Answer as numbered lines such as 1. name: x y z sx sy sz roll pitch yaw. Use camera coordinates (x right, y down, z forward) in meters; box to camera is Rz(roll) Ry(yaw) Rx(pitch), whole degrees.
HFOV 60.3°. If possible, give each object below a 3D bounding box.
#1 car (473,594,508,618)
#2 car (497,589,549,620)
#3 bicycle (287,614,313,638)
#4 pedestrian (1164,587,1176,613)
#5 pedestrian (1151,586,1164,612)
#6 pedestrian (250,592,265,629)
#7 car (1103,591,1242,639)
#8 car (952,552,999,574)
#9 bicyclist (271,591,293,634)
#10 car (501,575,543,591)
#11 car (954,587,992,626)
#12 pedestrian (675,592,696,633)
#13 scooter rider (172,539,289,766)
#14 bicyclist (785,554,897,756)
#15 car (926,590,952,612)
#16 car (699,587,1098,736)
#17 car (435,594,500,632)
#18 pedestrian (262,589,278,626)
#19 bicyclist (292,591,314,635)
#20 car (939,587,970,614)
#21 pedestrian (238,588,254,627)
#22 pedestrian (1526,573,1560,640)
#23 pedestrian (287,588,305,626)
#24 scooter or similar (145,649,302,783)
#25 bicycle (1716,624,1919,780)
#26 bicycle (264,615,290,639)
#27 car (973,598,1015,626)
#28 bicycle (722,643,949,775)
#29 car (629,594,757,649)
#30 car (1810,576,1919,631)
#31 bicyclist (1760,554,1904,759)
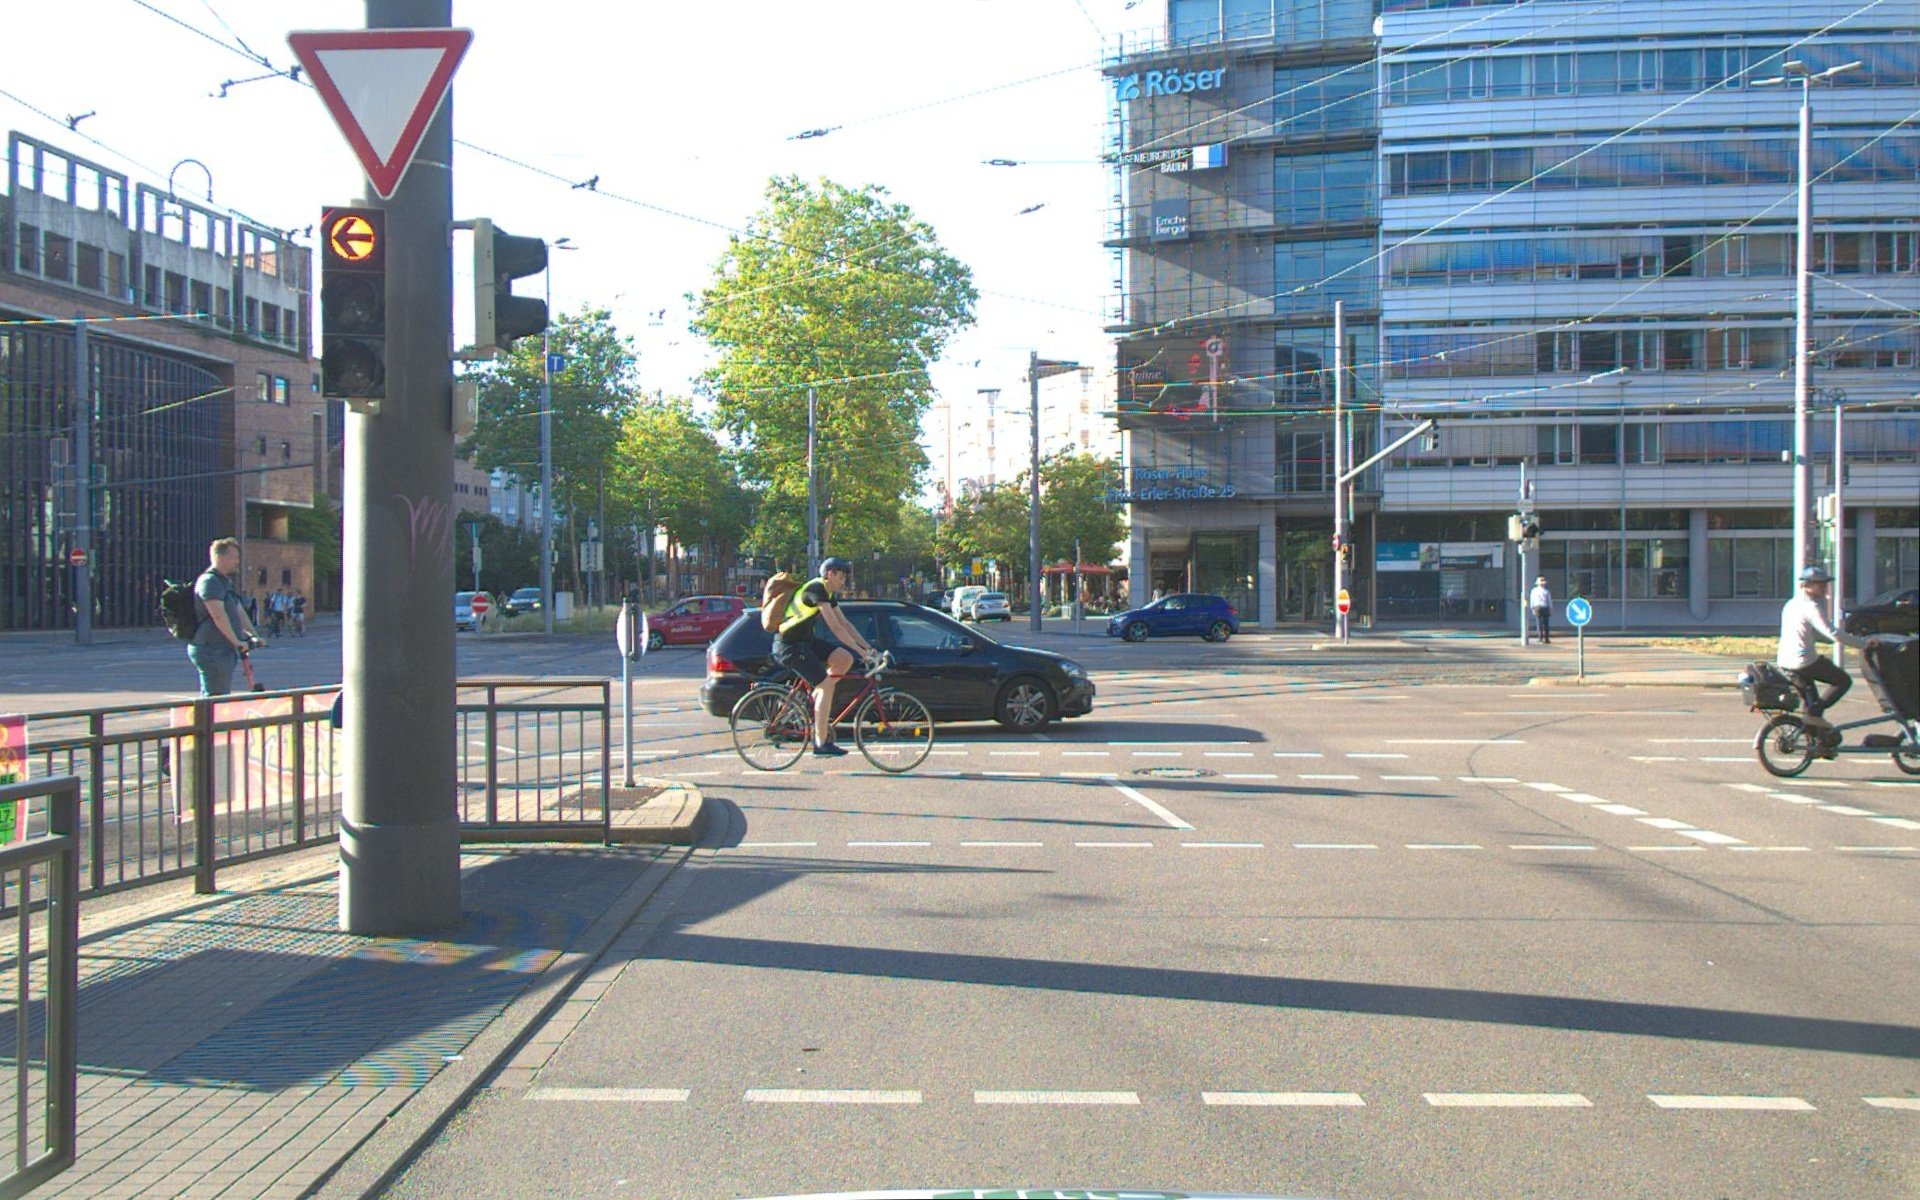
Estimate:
1. car: -30.543 0.384 107.666 1.873 1.536 3.988 1 0 -12
2. car: -22.432 0.201 85.024 1.955 1.534 3.994 -1 0 -6
3. bicycle: -26.103 1.024 65.428 0.503 0.897 1.835 -1 0 -8
4. pedestrian: 12.099 0.024 95.228 0.691 1.491 0.384 -1 0 8
5. pedestrian: 11.438 -0.061 95.670 0.723 1.491 0.537 -1 0 8
6. pedestrian: -34.474 0.510 81.151 0.479 1.842 0.546 -1 0 6
7. car: 6.426 0.440 50.319 3.908 1.371 1.975 -1 0 -4
8. car: 1.321 -3.150 140.287 3.681 1.780 1.783 1 0 14
9. bicyclist: -26.748 0.487 65.222 0.582 1.705 0.788 -1 0 -7
10. car: -45.808 -1.811 173.092 3.948 1.579 1.589 1 -1 -32
11. car: 0.683 0.342 89.707 1.953 2.026 3.999 -1 0 -1
12. pedestrian: -10.475 0.472 63.154 0.740 1.557 0.507 1 0 -8
13. scooter rider: -6.374 0.446 14.487 0.650 1.929 0.736 -1 0 2
14. bicyclist: -1.008 0.461 14.161 0.885 1.693 0.639 0 0 2
15. car: -1.624 0.059 126.704 1.953 1.691 3.999 -1 0 -1
16. car: -0.715 0.642 18.794 4.299 1.544 1.998 0 1 -5
17. car: -21.045 0.545 70.848 1.955 1.534 3.994 -1 0 -6
18. pedestrian: -33.721 0.349 80.819 0.511 1.810 0.546 -1 0 6
19. bicyclist: -26.005 0.503 65.489 0.582 1.705 0.788 -1 0 -7
20. car: -0.369 0.022 105.007 1.953 1.691 3.999 -1 0 -1
21. pedestrian: -34.470 0.366 79.820 0.479 1.842 0.546 -1 0 6
22. pedestrian: 15.162 0.172 43.023 0.704 1.711 0.557 1 0 6
23. pedestrian: -32.446 0.362 80.798 0.627 1.842 0.546 -1 0 6
24. scooter or similar: -6.415 1.001 14.421 1.181 1.123 0.403 -1 0 2
25. bicycle: 7.850 0.864 14.345 2.111 1.248 1.073 1 1 7
26. bicycle: -26.897 1.056 65.111 0.503 0.897 1.835 -1 0 -8
27. car: 1.673 0.590 82.882 1.953 1.355 3.999 -1 0 -1
28. bicycle: -1.049 0.922 14.173 1.883 1.083 0.629 0 0 2
29. car: -7.700 0.588 47.510 3.534 1.492 1.790 -1 0 -13
30. car: 25.342 0.067 44.363 4.151 1.417 1.796 -1 0 4
31. bicyclist: 7.539 0.473 14.336 0.885 1.710 0.691 1 0 7
